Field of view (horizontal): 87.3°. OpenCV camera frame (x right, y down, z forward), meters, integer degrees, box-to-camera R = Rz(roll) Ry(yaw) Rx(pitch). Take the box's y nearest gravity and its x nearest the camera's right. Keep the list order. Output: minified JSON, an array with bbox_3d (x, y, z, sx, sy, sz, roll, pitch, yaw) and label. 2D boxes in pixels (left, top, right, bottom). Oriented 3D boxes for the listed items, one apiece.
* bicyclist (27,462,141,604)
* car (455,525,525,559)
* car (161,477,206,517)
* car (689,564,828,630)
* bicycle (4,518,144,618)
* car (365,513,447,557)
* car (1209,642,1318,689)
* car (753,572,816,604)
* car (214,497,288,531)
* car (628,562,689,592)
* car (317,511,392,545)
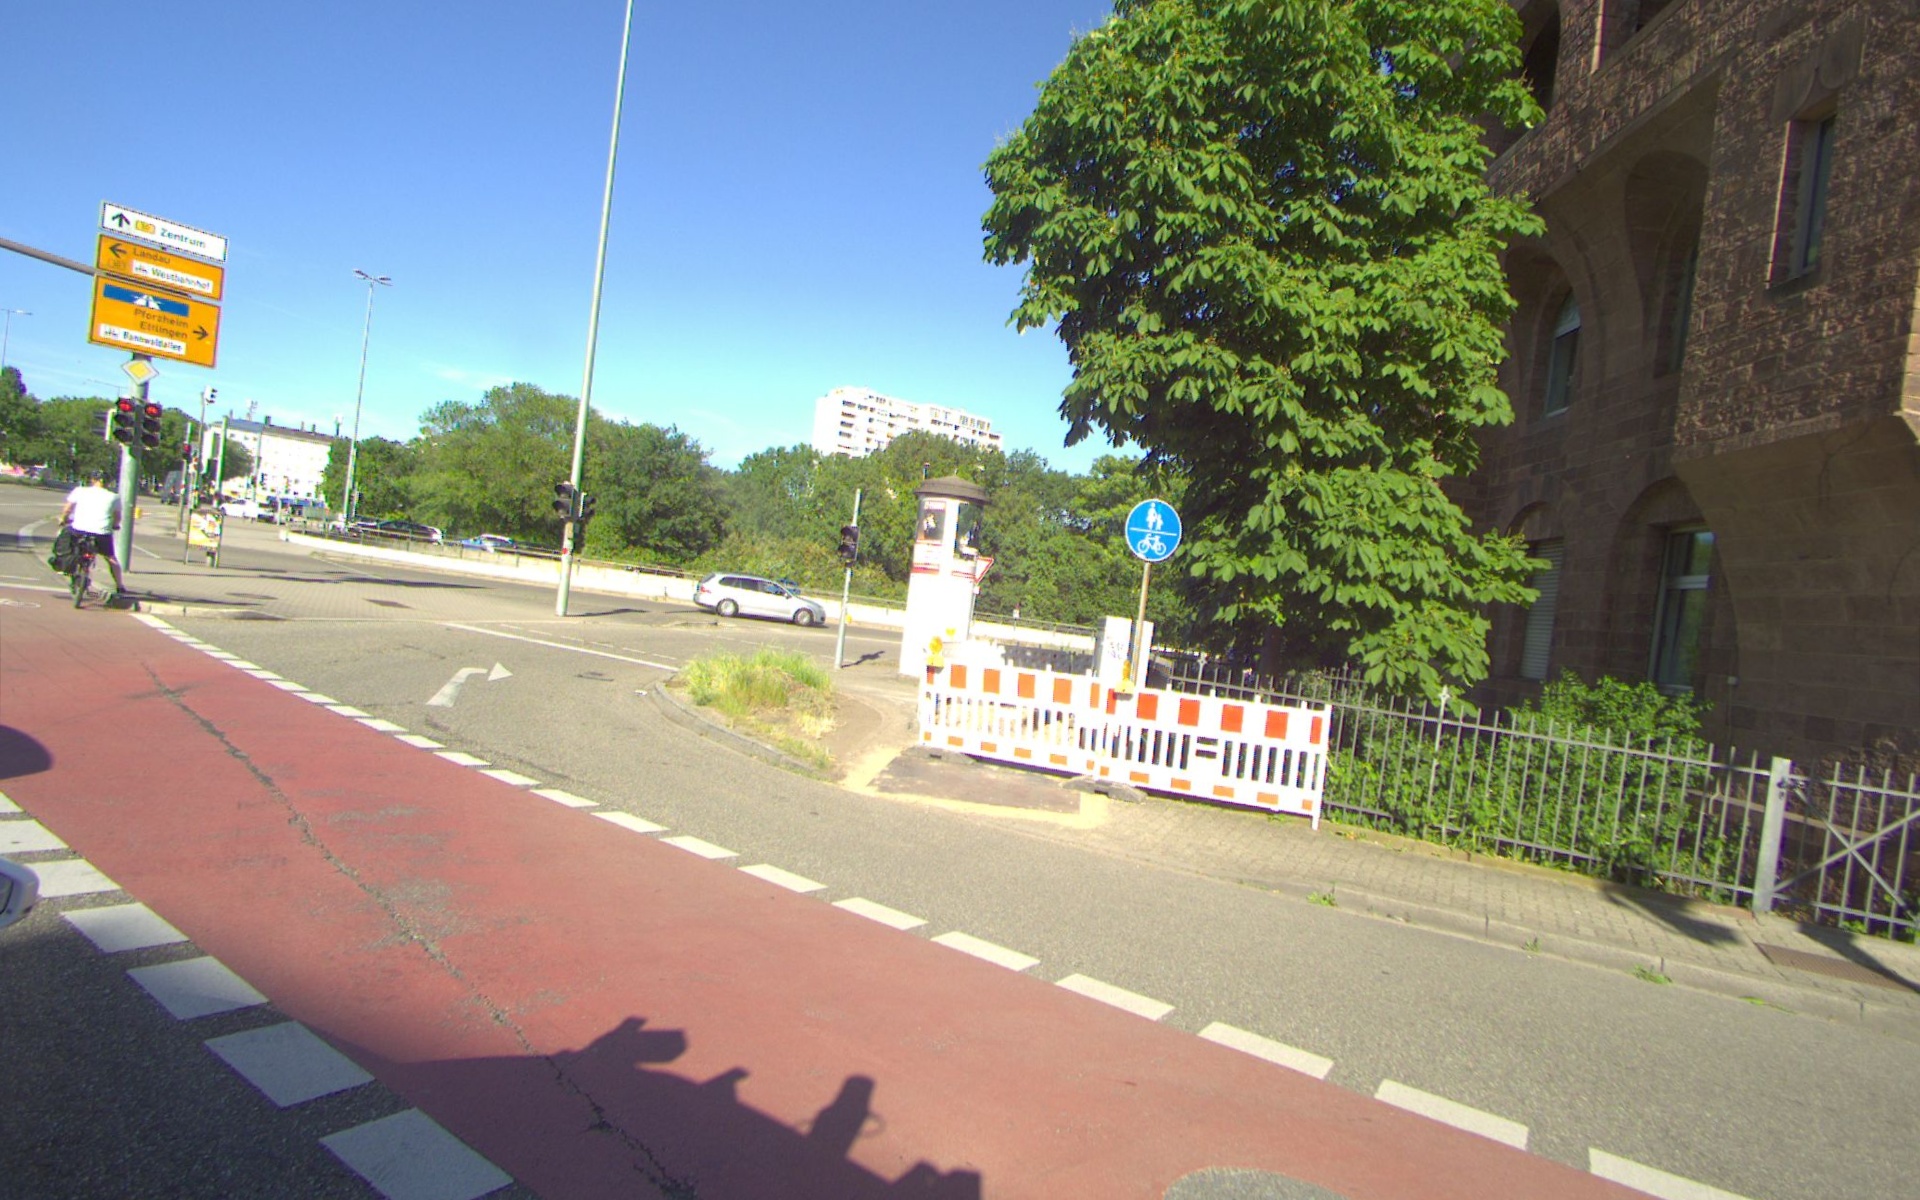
[{"bbox_3d":[-11.780,-0.891,13.576,0.793,1.726,1.077,7,1,-29],"label":"bicyclist"},{"bbox_3d":[-32.306,-3.982,69.219,3.938,1.705,1.851,8,1,-14],"label":"car"},{"bbox_3d":[-62.179,-8.205,80.510,2.247,2.638,4.828,7,-2,-43],"label":"car"},{"bbox_3d":[-6.828,-0.107,34.051,4.290,1.512,1.748,9,1,-20],"label":"car"},{"bbox_3d":[-11.766,-0.457,13.453,0.793,1.124,2.384,8,0,-29],"label":"bicycle"},{"bbox_3d":[-33.582,-3.891,61.105,3.943,2.037,1.992,7,-2,-20],"label":"car"},{"bbox_3d":[13.163,2.815,43.691,3.937,1.472,1.993,7,1,-15],"label":"car"},{"bbox_3d":[-13.296,-0.899,76.064,4.203,1.876,2.010,7,-2,-23],"label":"car"},{"bbox_3d":[-50.776,-6.150,72.077,3.923,1.770,2.002,6,-2,10],"label":"car"},{"bbox_3d":[-21.776,-1.625,72.565,3.946,1.681,1.991,7,-2,-22],"label":"car"},{"bbox_3d":[-41.804,-4.954,69.483,3.923,1.770,2.002,6,-2,6],"label":"car"}]
